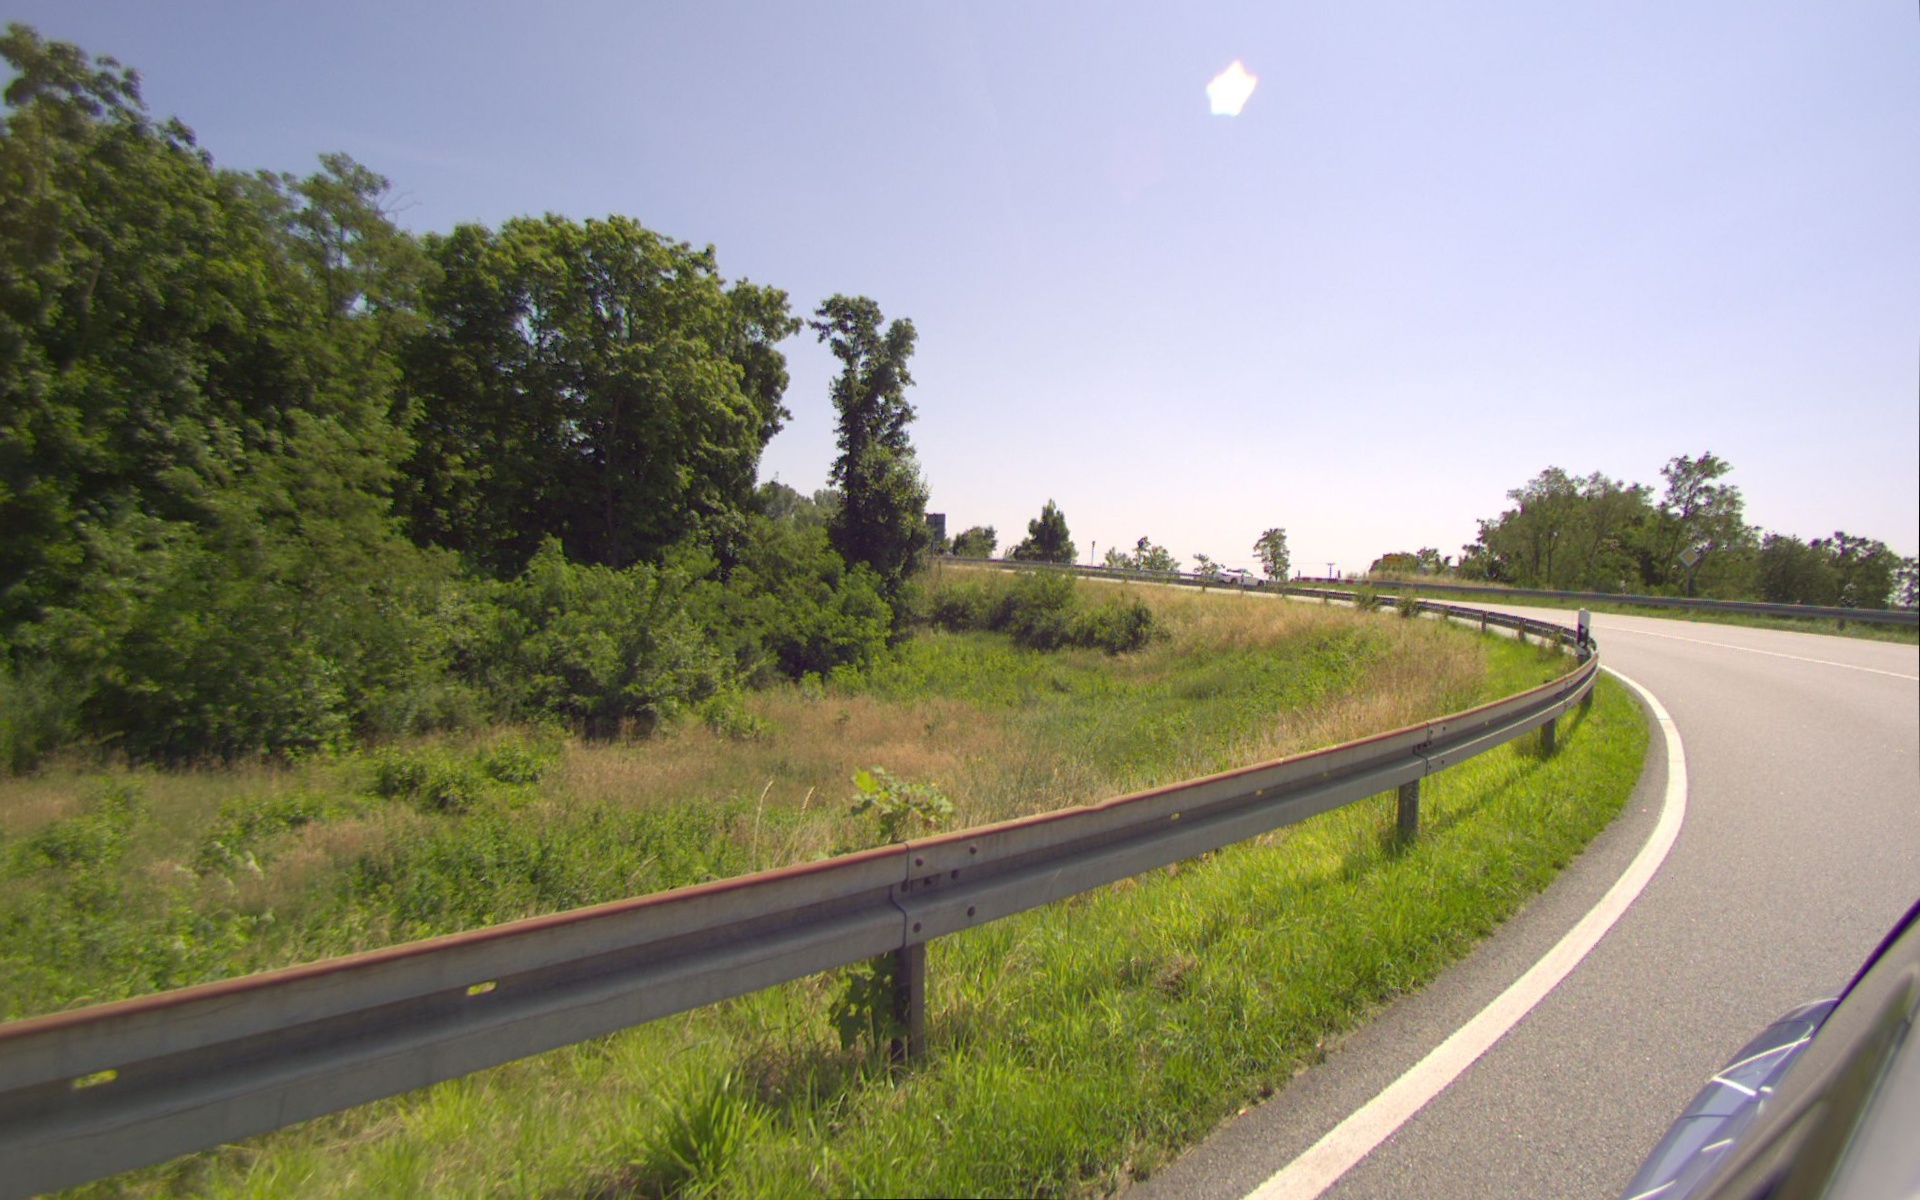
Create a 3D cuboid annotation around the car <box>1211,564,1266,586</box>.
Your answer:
[{"bbox_3d":[22.805,-2.018,82.924,4.024,1.434,1.817,3,-3,-22],"label":"car"}]

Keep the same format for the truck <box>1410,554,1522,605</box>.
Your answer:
[{"bbox_3d":[46.317,-1.794,92.607,9.738,3.716,2.827,5,-2,-16],"label":"truck"}]
